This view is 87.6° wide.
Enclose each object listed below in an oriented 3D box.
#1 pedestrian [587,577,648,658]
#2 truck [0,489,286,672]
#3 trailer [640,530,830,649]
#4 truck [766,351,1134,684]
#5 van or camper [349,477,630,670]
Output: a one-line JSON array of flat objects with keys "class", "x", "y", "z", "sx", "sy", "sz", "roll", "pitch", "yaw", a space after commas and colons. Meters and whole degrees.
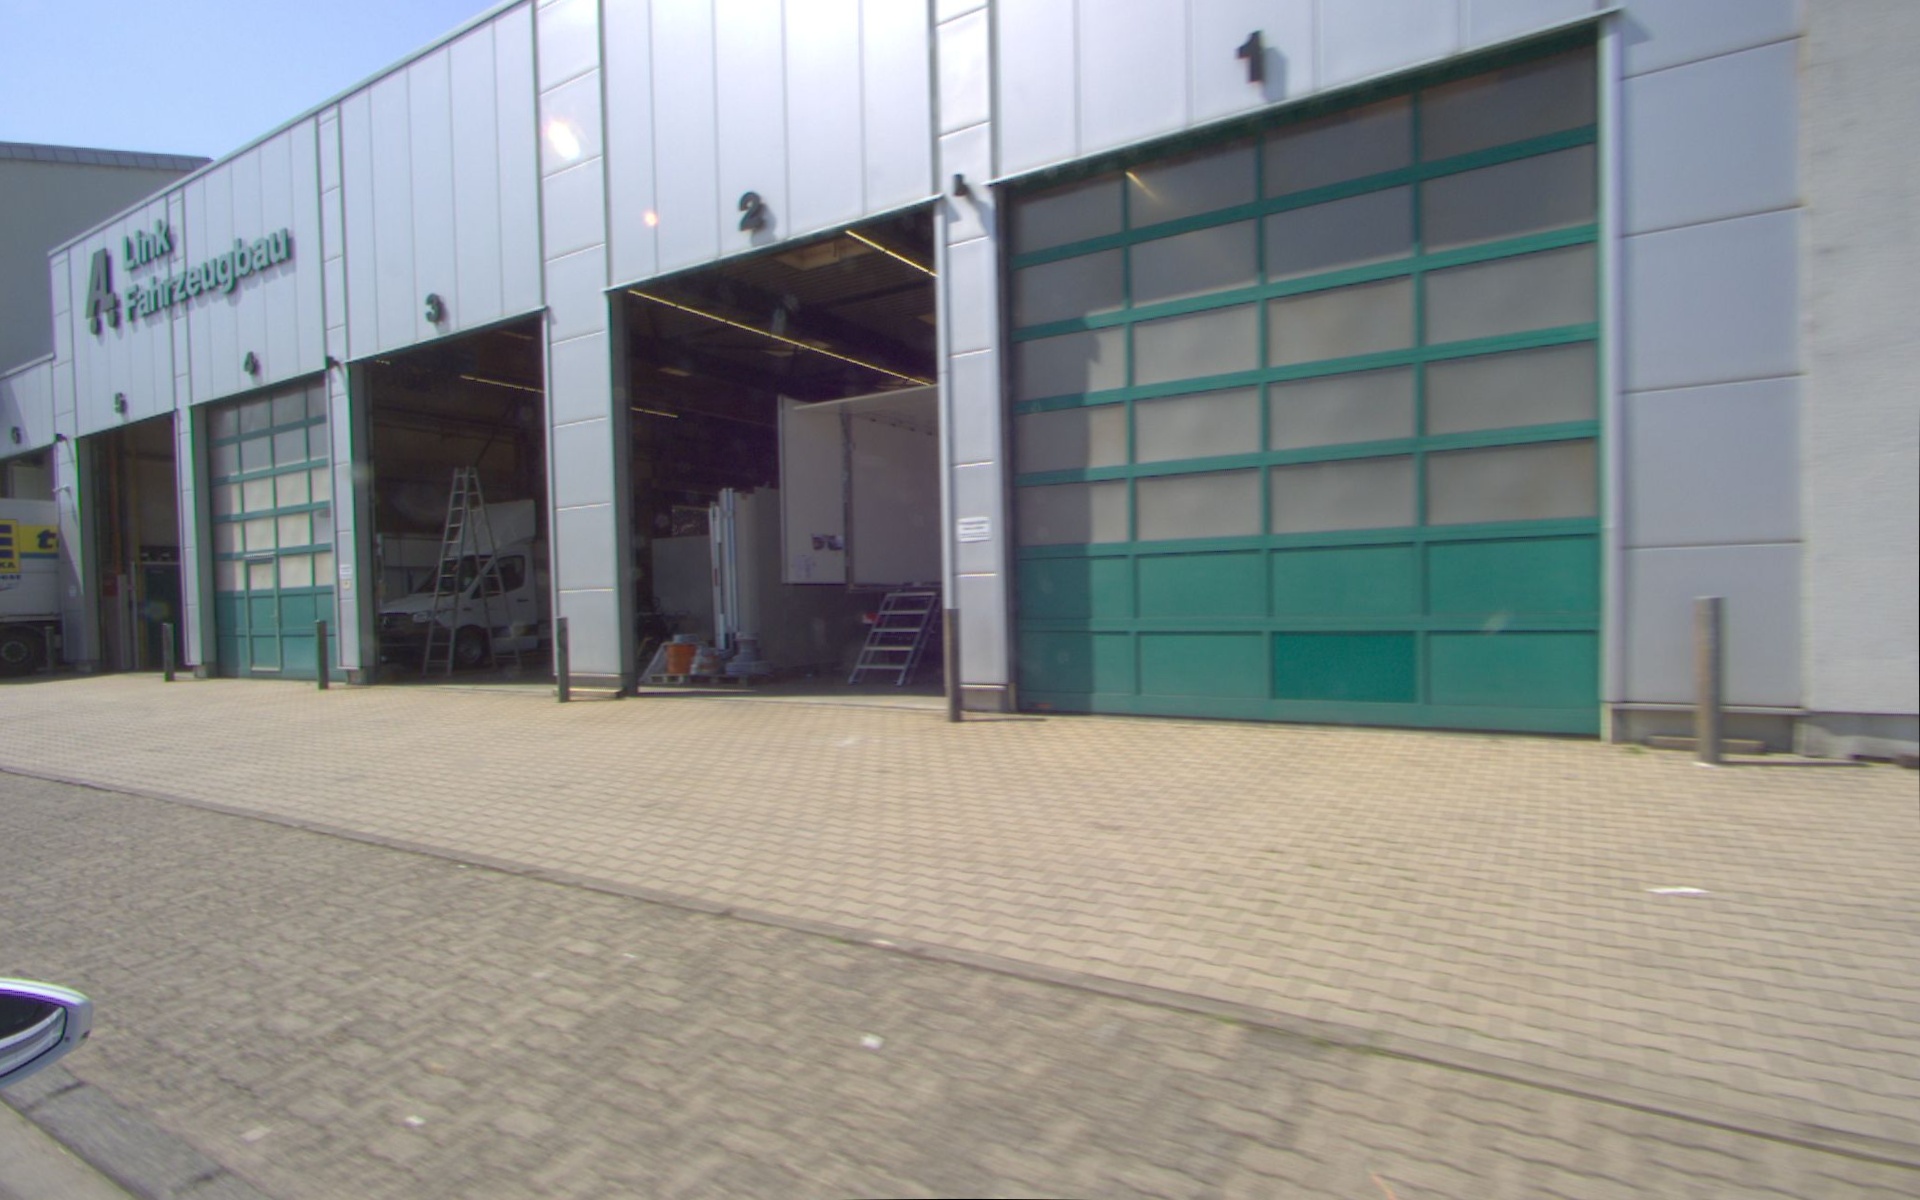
[{"class": "pedestrian", "x": -7.095, "y": 0.361, "z": 20.745, "sx": 0.852, "sy": 1.642, "sz": 0.810, "roll": -1, "pitch": 1, "yaw": 30}, {"class": "truck", "x": -19.920, "y": -0.478, "z": 22.533, "sx": 2.723, "sy": 3.696, "sz": 7.351, "roll": -1, "pitch": 3, "yaw": 26}, {"class": "trailer", "x": -5.759, "y": -0.243, "z": 26.188, "sx": 2.401, "sy": 2.800, "sz": 4.485, "roll": -1, "pitch": 0, "yaw": 31}, {"class": "truck", "x": 0.121, "y": -0.942, "z": 14.432, "sx": 2.740, "sy": 3.798, "sz": 5.284, "roll": -1, "pitch": 0, "yaw": 34}, {"class": "van or camper", "x": -9.083, "y": -0.456, "z": 19.818, "sx": 1.969, "sy": 3.332, "sz": 4.750, "roll": -1, "pitch": 0, "yaw": 28}]
